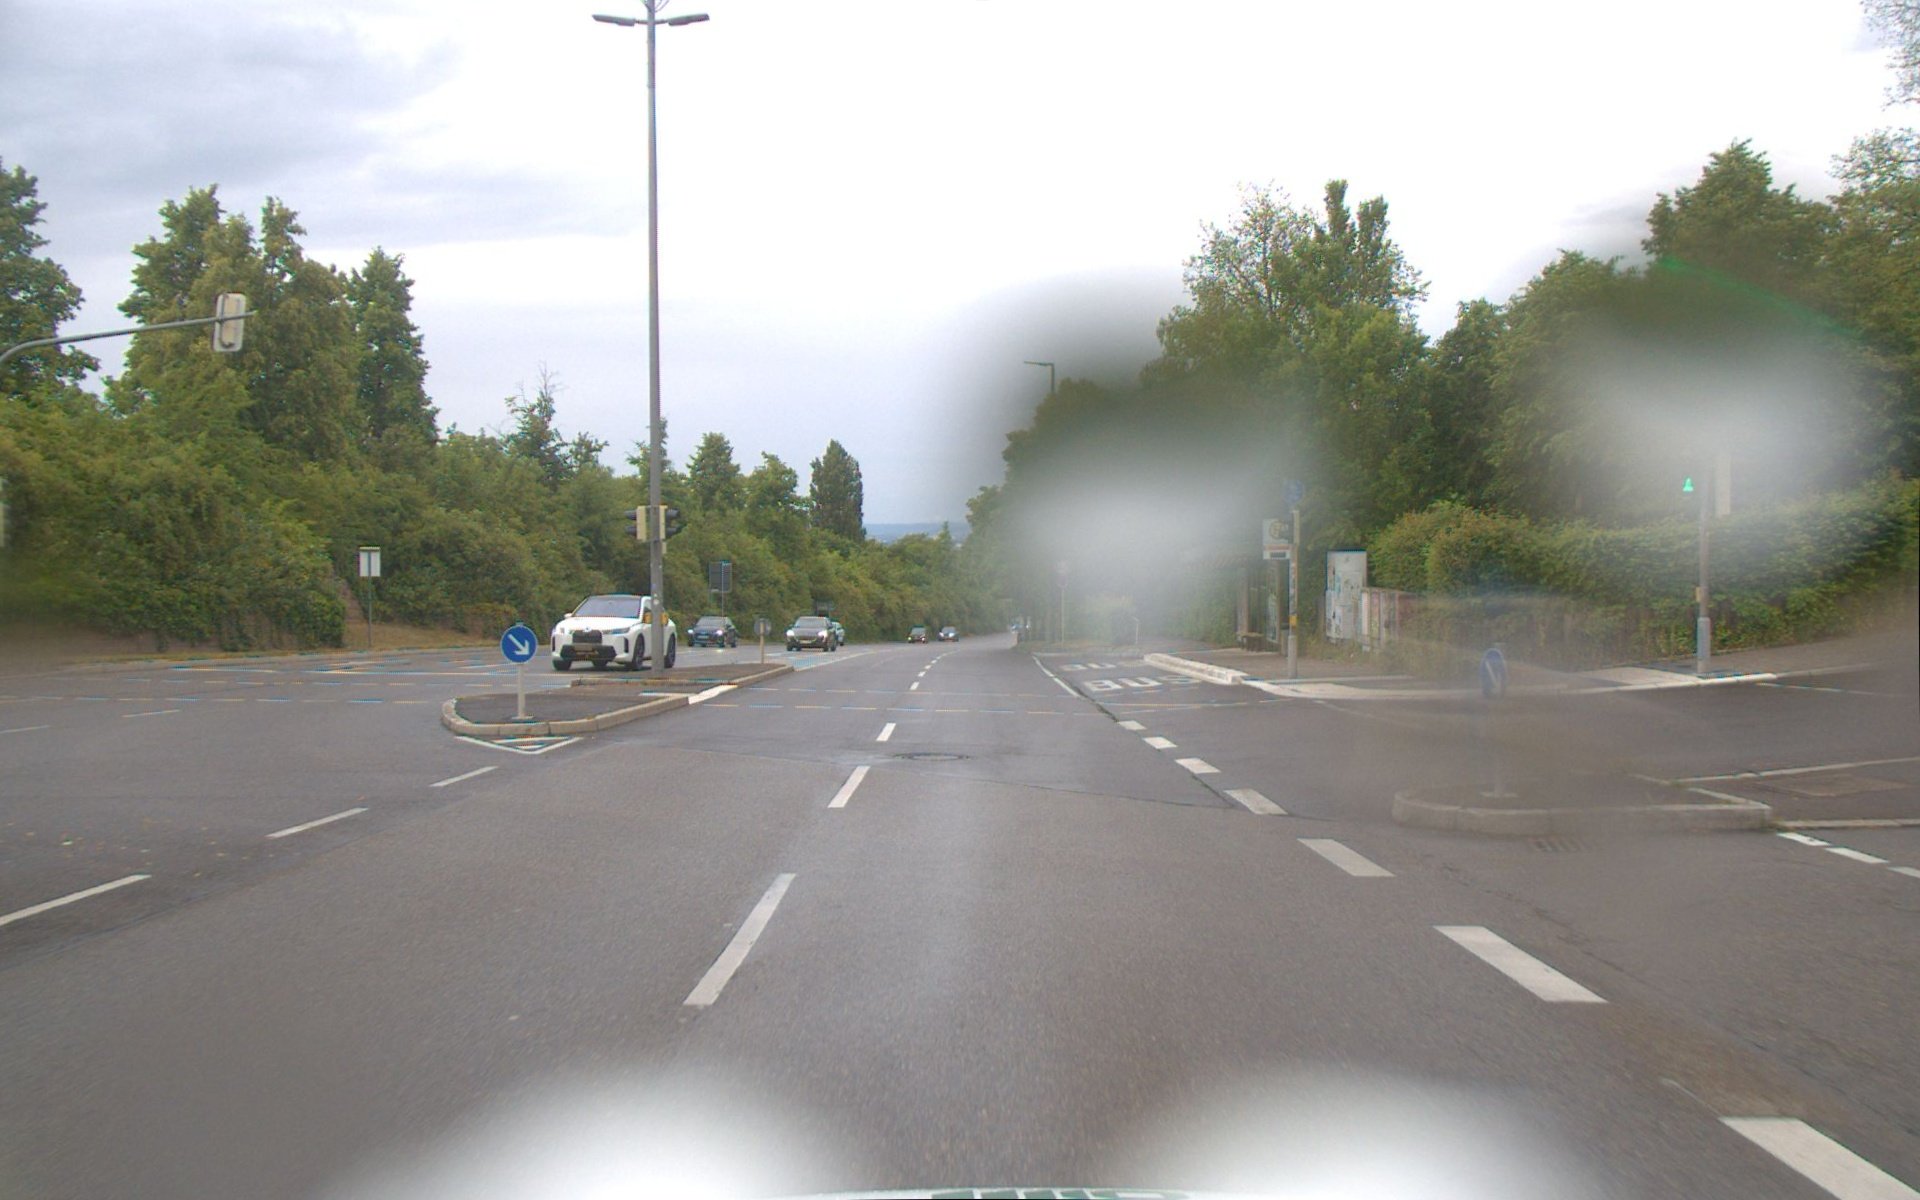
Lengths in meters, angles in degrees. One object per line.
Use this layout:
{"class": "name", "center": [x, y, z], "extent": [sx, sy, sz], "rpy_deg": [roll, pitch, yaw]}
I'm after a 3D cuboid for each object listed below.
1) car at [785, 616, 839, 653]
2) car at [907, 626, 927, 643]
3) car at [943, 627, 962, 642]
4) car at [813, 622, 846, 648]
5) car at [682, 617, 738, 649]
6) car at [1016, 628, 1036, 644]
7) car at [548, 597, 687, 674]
{"class": "car", "center": [-6.335, 1.460, 71.299], "extent": [1.741, 1.498, 4.645], "rpy_deg": [1, -1, 2]}
{"class": "car", "center": [-4.237, 3.389, 162.313], "extent": [1.689, 1.593, 3.893], "rpy_deg": [2, -1, 1]}
{"class": "car", "center": [-0.833, 3.840, 184.739], "extent": [1.825, 1.617, 3.894], "rpy_deg": [2, -1, 4]}
{"class": "car", "center": [-8.789, 2.357, 111.654], "extent": [1.688, 1.619, 4.002], "rpy_deg": [0, 0, 3]}
{"class": "car", "center": [-11.806, 1.532, 78.358], "extent": [1.781, 1.463, 4.456], "rpy_deg": [0, -1, 3]}
{"class": "car", "center": [7.174, 3.940, 179.976], "extent": [1.903, 1.619, 3.930], "rpy_deg": [0, 0, 7]}
{"class": "car", "center": [-7.928, 0.782, 38.770], "extent": [1.904, 1.664, 5.008], "rpy_deg": [0, 0, 4]}
